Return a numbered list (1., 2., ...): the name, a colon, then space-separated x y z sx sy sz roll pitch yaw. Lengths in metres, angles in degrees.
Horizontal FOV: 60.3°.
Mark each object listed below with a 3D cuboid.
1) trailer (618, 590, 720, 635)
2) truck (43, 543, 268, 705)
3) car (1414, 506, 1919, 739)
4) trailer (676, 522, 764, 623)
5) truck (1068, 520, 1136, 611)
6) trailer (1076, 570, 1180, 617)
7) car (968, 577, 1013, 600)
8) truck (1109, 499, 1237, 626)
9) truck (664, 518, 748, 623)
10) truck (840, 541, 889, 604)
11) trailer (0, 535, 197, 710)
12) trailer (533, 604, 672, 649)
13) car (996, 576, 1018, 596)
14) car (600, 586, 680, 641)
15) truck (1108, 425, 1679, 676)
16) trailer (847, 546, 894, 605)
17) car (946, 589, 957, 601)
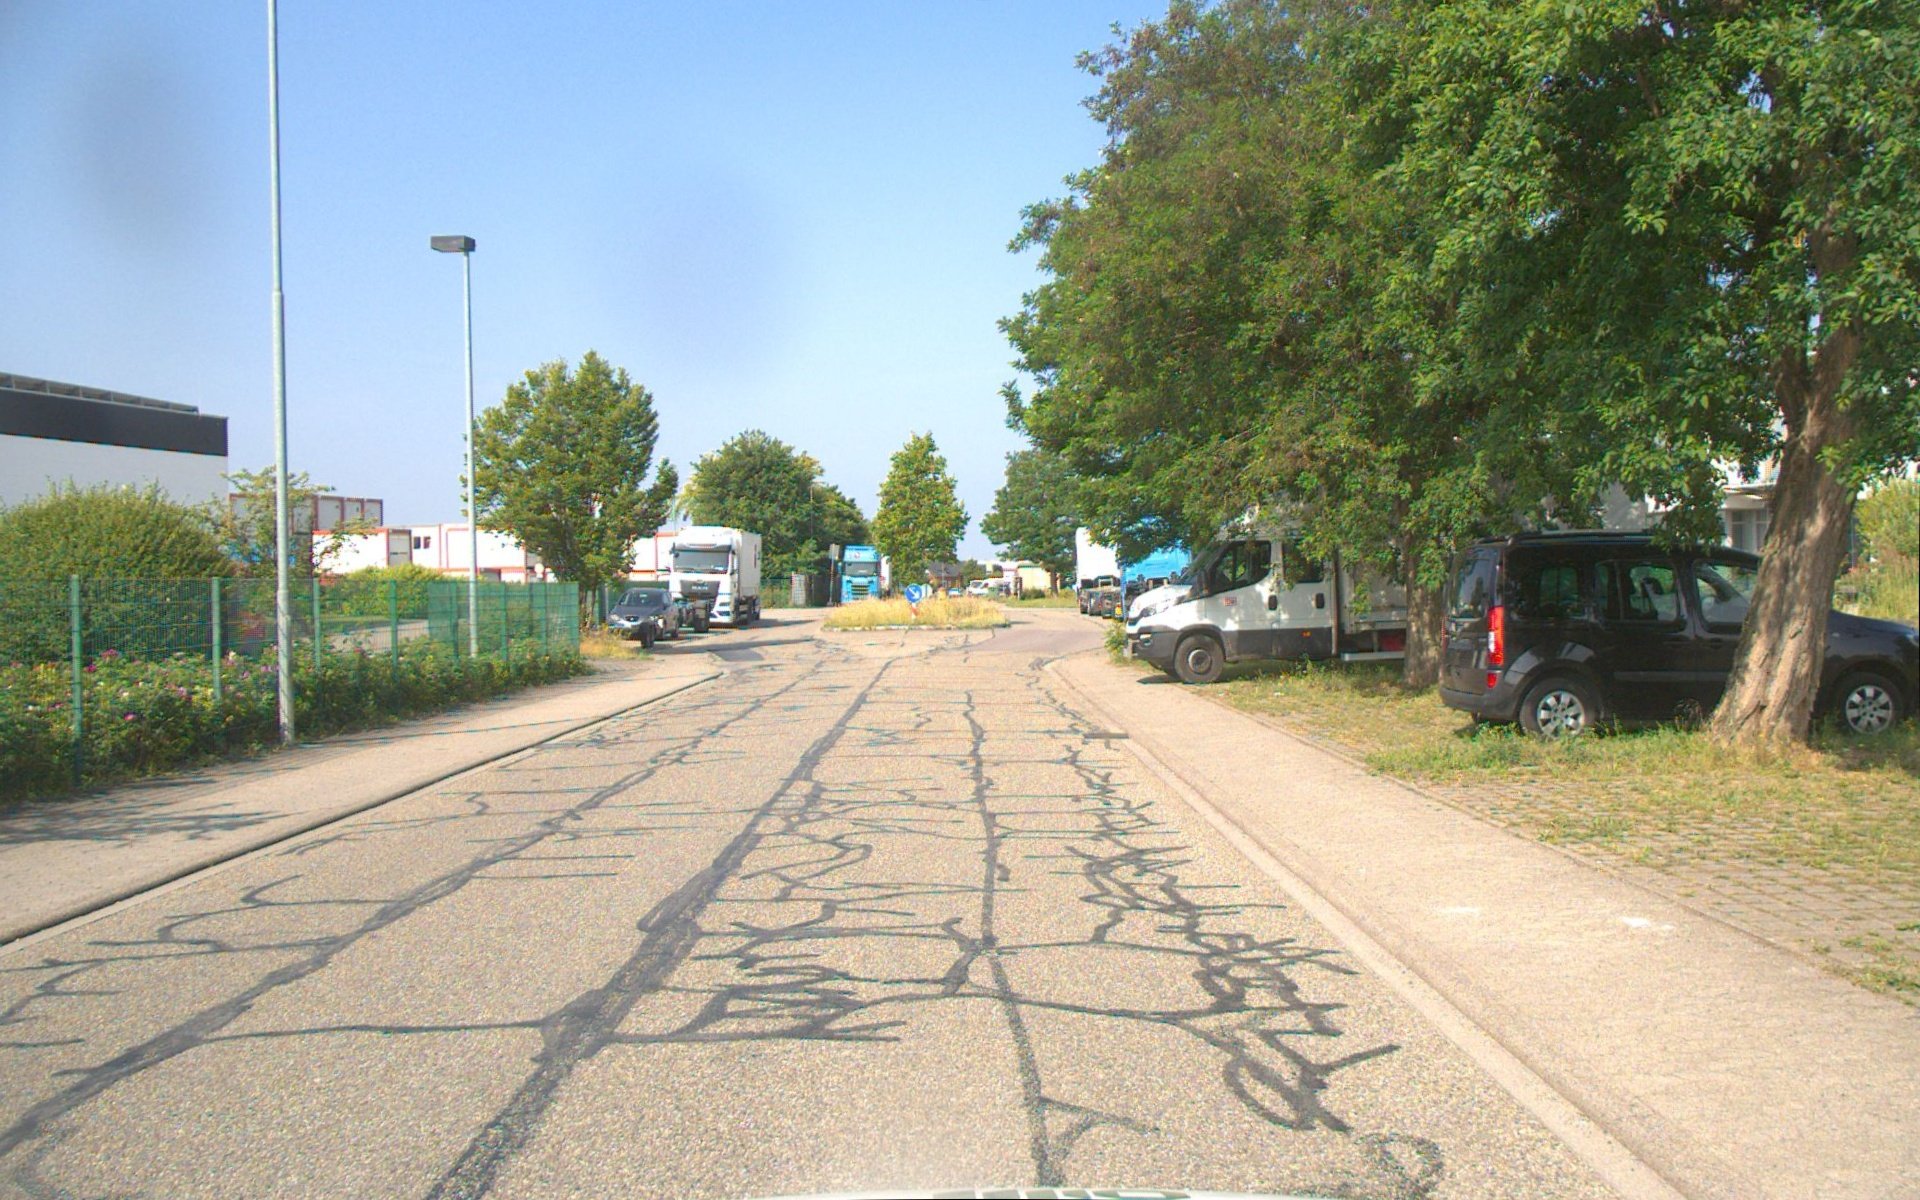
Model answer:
1. trailer: -10.230 0.412 58.555 2.626 1.479 5.078 0 1 1
2. truck: -21.905 0.630 45.363 2.459 4.142 5.547 0 -1 15
3. car: 6.359 0.185 15.021 3.905 1.870 2.000 -2 0 1
4. trailer: -10.017 -1.041 69.656 2.644 3.990 7.573 1 -1 -1
5. truck: 6.737 -1.628 78.936 2.690 4.050 4.000 -4 0 0
6. trailer: 6.837 -0.295 69.881 2.690 1.601 16.171 -3 0 0
7. car: 3.931 -1.472 211.858 5.647 2.782 2.001 1 -1 6
8. truck: 6.887 -1.106 54.989 2.829 3.596 9.755 -5 0 0
9. truck: -9.956 -1.103 65.171 2.654 3.990 4.295 1 -1 -1
10. truck: -6.260 -1.736 109.598 2.767 3.893 9.671 1 -1 -1
11. trailer: -23.758 0.511 38.534 2.429 4.112 13.897 0 -1 15
12. trailer: -9.733 0.686 45.663 2.495 0.941 6.708 2 1 -1
13. car: 4.279 -1.265 150.447 1.755 1.780 3.999 1 -1 -1
14. car: -10.051 0.394 52.235 1.661 1.588 4.335 1 1 0
15. truck: 6.503 -0.725 25.664 8.042 3.429 2.740 -2 -1 -1
16. trailer: -6.339 -1.646 118.795 2.773 3.910 12.034 1 -1 -1
17. car: -1.309 -0.793 258.668 1.683 1.690 3.822 1 -1 -2
